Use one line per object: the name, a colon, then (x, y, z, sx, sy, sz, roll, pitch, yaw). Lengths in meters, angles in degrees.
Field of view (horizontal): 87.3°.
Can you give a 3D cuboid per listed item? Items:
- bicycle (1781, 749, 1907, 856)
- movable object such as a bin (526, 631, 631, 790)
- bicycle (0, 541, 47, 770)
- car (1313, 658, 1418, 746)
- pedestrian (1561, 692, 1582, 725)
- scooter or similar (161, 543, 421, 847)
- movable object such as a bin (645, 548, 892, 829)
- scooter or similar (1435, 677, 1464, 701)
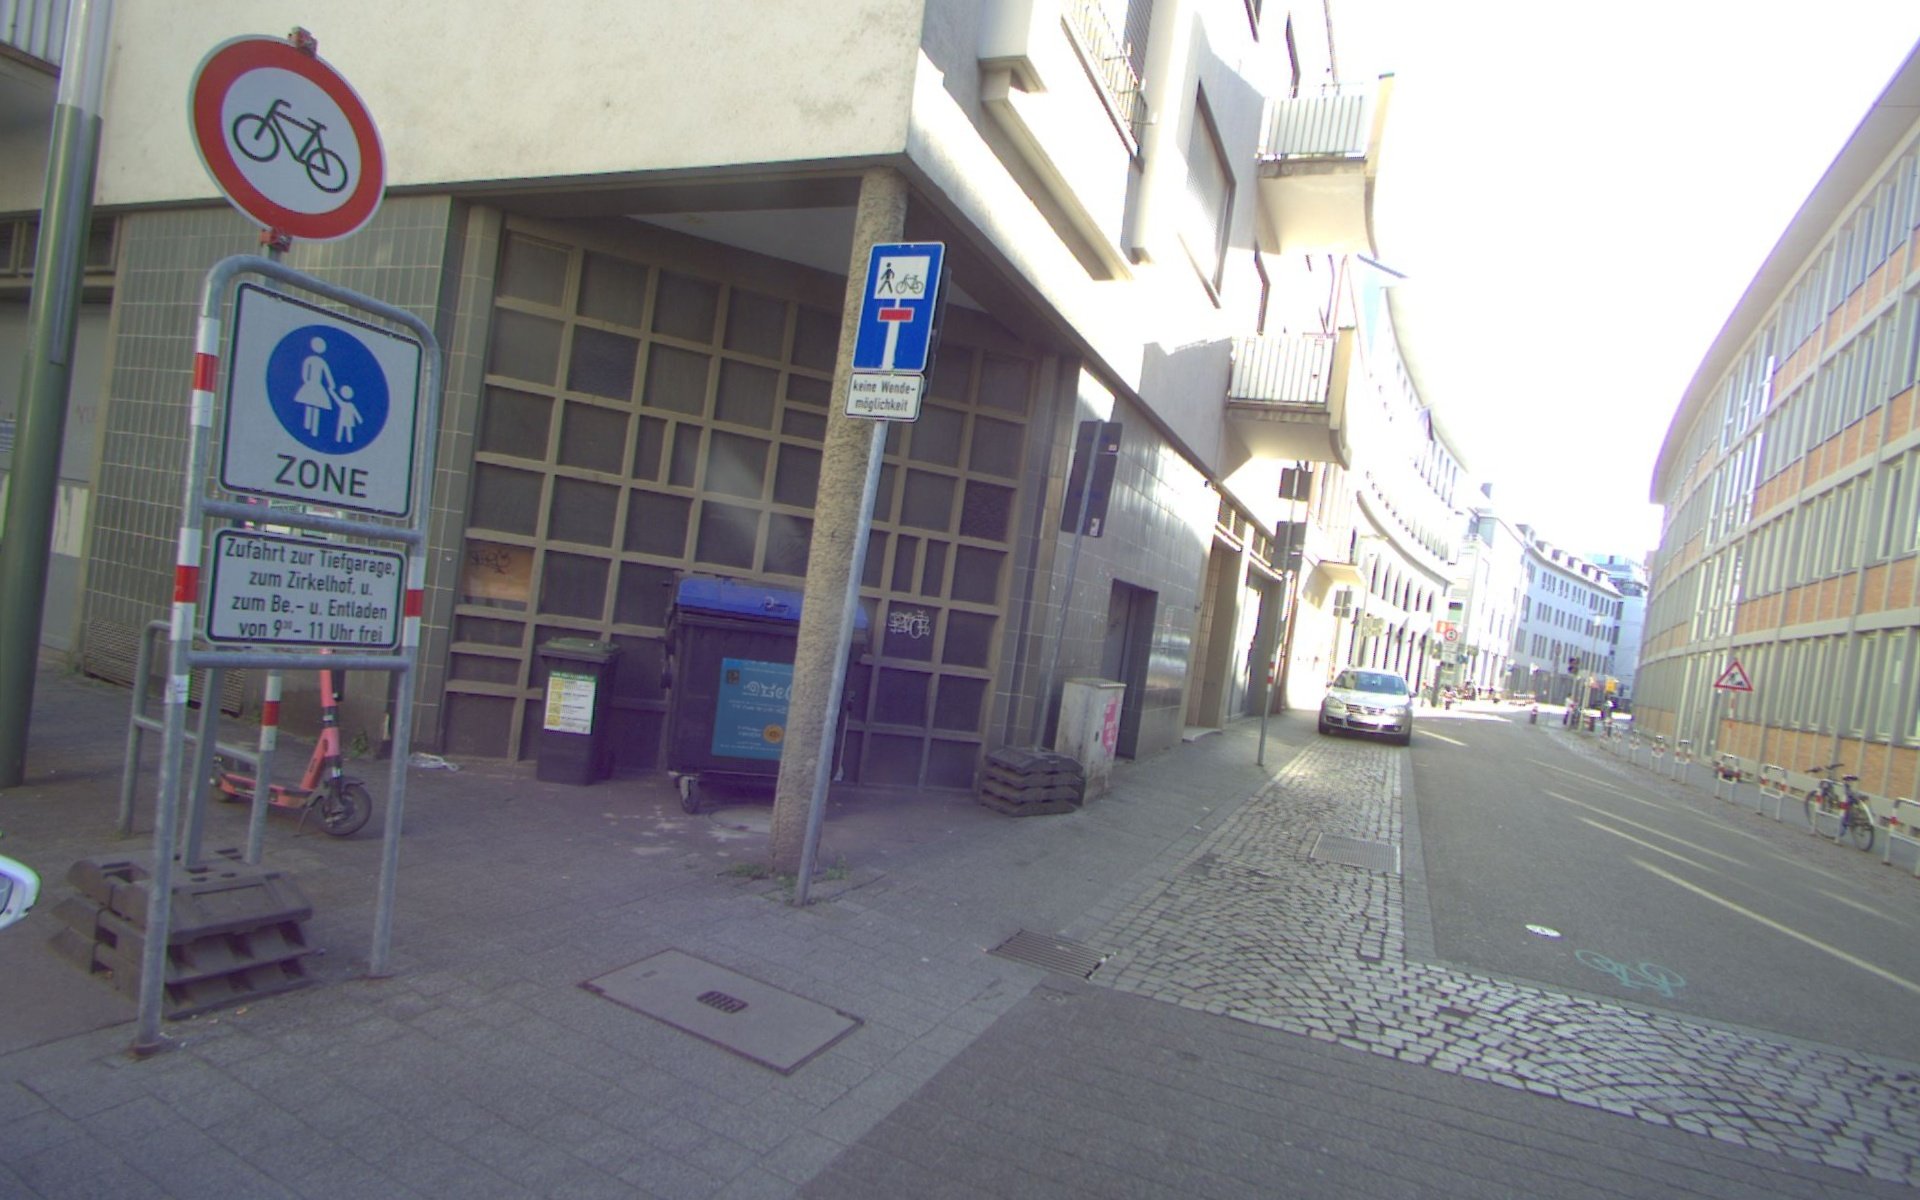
bicycle: (12.272, 2.776, 14.032, 0.626, 1.130, 1.930, 8, 0, 23)
movable object such as a bin: (-2.523, 0.720, 6.646, 0.534, 0.935, 0.510, 7, 1, -23)
bicycle: (-5.650, 0.209, 5.464, 1.681, 1.153, 0.447, 6, 0, 30)
car: (8.636, 2.072, 21.251, 1.739, 1.488, 3.810, 6, -1, 25)
pedestrian: (29.109, 5.162, 47.910, 0.648, 1.459, 0.595, 8, 1, 27)
scooter or similar: (-3.283, 0.429, 4.919, 1.216, 1.268, 0.308, 7, 1, 21)
movable object such as a bin: (-1.328, 0.553, 6.745, 1.274, 1.609, 1.149, 7, 2, -21)
scooter or similar: (30.027, 5.444, 61.737, 0.524, 1.212, 1.954, 7, 0, -7)
